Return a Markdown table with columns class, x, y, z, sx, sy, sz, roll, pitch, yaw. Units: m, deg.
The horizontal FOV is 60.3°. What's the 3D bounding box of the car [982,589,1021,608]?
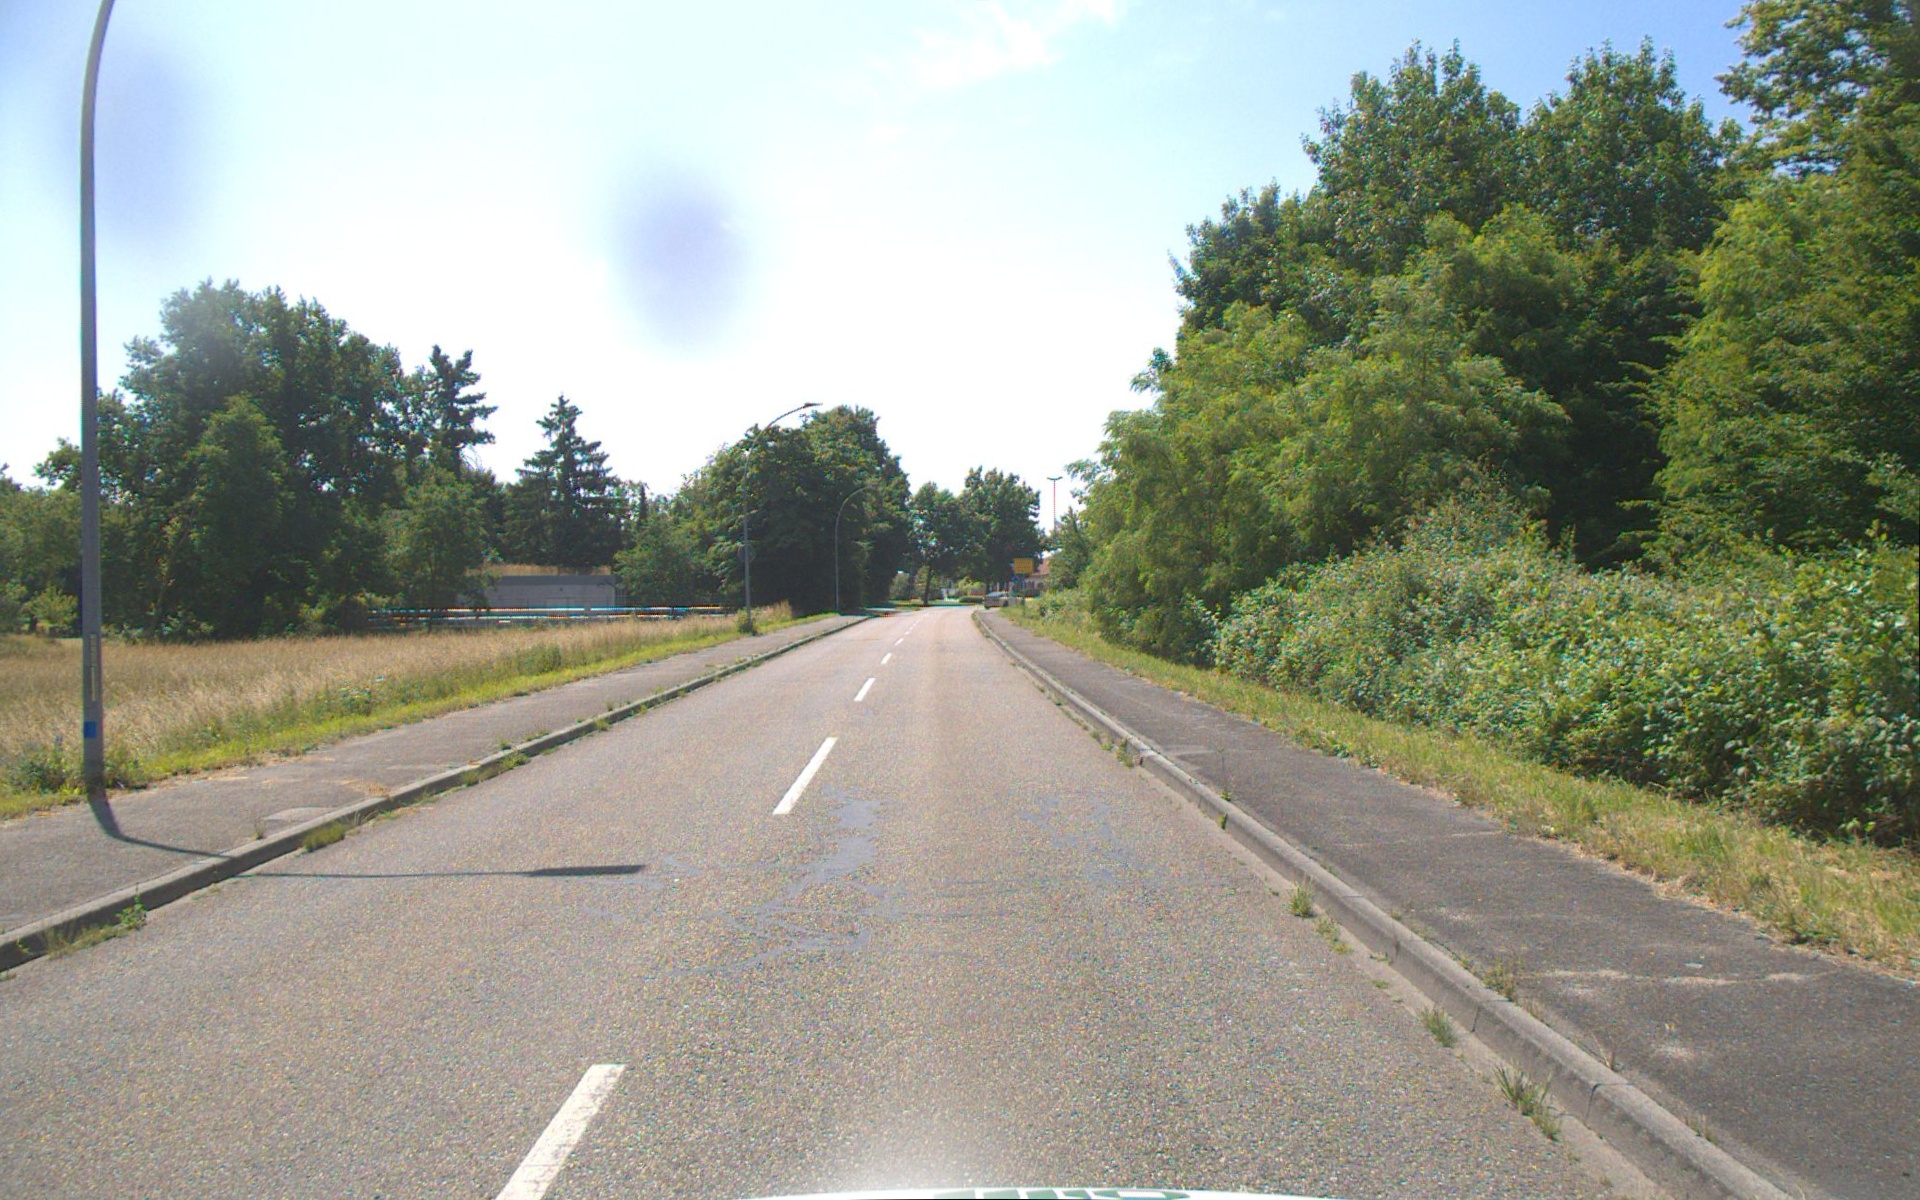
| class | x | y | z | sx | sy | sz | roll | pitch | yaw |
| --- | --- | --- | --- | --- | --- | --- | --- | --- | --- |
| car | 3.067 | -0.123 | 121.384 | 1.582 | 1.311 | 3.554 | -1 | 0 | 26 |
